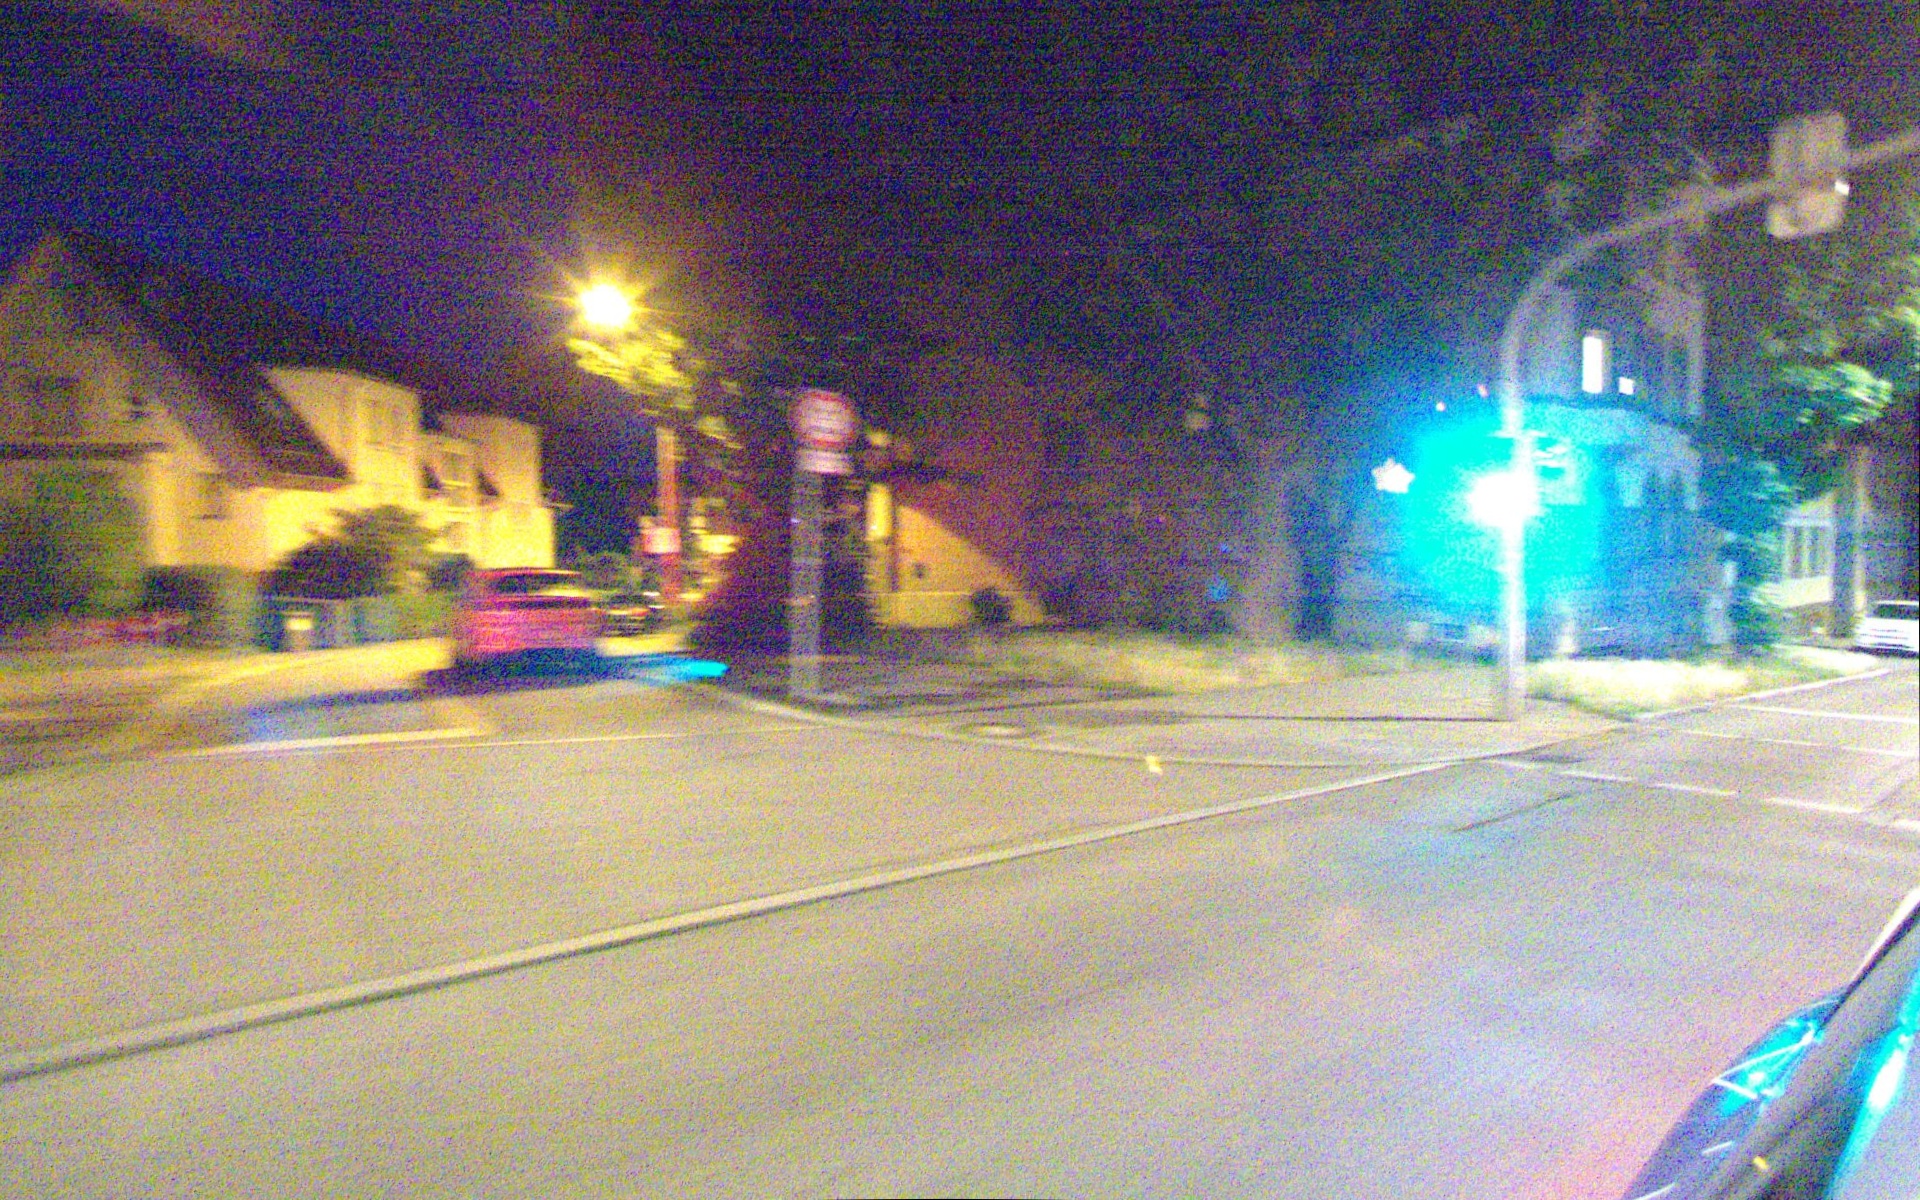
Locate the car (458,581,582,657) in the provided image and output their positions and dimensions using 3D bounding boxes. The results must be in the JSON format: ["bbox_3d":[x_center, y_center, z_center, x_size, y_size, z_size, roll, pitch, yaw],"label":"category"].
[{"bbox_3d":[-9.151,0.333,21.371,1.840,1.405,4.086,-2,1,-16],"label":"car"}]

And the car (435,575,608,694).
[{"bbox_3d":[-6.972,0.432,15.816,2.012,1.575,4.259,-1,1,-30],"label":"car"}]

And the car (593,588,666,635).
[{"bbox_3d":[-10.314,0.325,31.776,1.606,1.374,3.701,0,1,-9],"label":"car"}]

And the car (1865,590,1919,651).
[{"bbox_3d":[25.906,0.541,27.376,3.348,1.512,1.626,0,3,-40],"label":"car"}]
